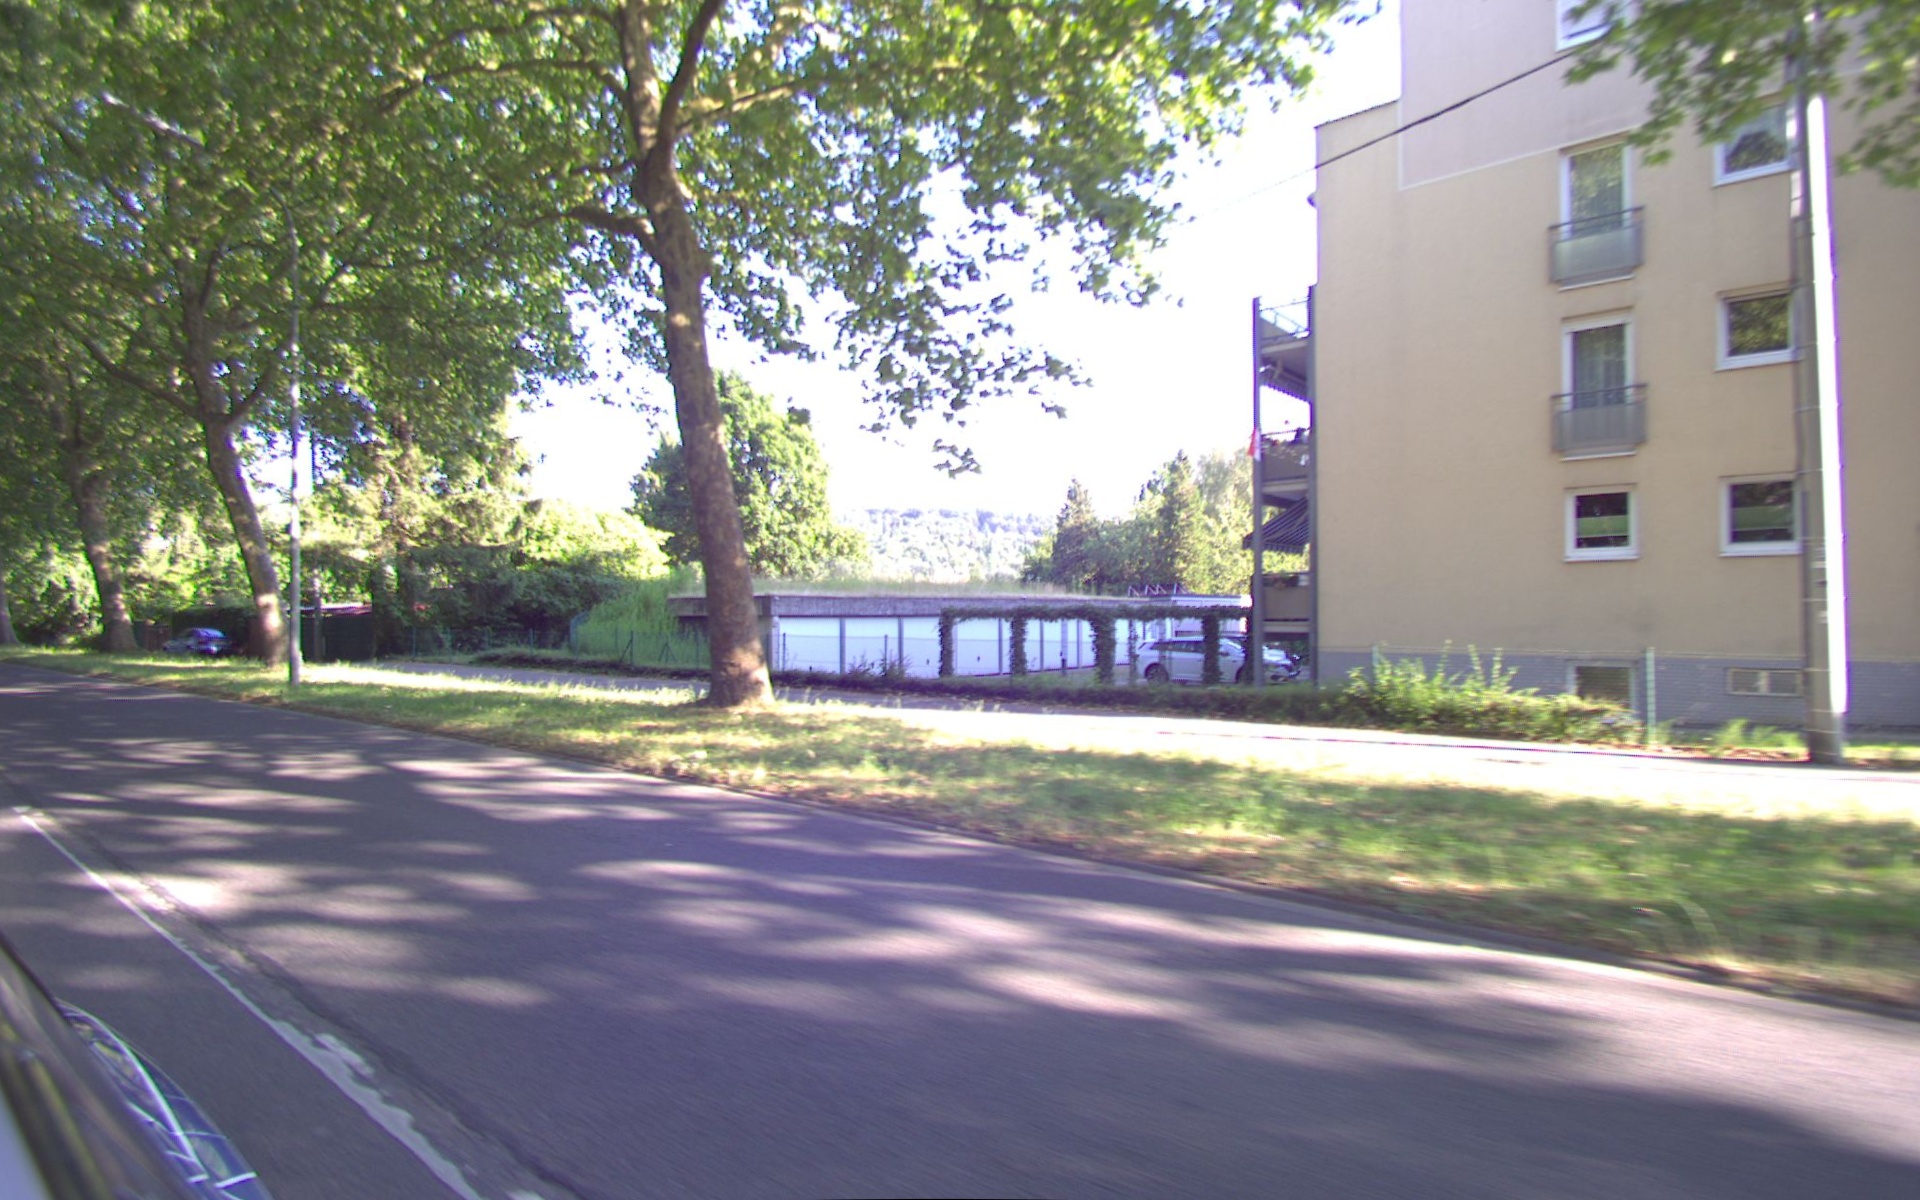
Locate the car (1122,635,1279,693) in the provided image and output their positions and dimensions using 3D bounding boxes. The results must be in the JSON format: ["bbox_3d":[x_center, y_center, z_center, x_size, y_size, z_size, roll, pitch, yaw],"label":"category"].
[{"bbox_3d":[7.010,1.811,29.669,4.112,1.558,1.865,-1,-2,38],"label":"car"}]

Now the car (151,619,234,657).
[{"bbox_3d":[-32.757,1.592,43.168,3.992,1.541,1.792,-1,-2,36],"label":"car"}]
